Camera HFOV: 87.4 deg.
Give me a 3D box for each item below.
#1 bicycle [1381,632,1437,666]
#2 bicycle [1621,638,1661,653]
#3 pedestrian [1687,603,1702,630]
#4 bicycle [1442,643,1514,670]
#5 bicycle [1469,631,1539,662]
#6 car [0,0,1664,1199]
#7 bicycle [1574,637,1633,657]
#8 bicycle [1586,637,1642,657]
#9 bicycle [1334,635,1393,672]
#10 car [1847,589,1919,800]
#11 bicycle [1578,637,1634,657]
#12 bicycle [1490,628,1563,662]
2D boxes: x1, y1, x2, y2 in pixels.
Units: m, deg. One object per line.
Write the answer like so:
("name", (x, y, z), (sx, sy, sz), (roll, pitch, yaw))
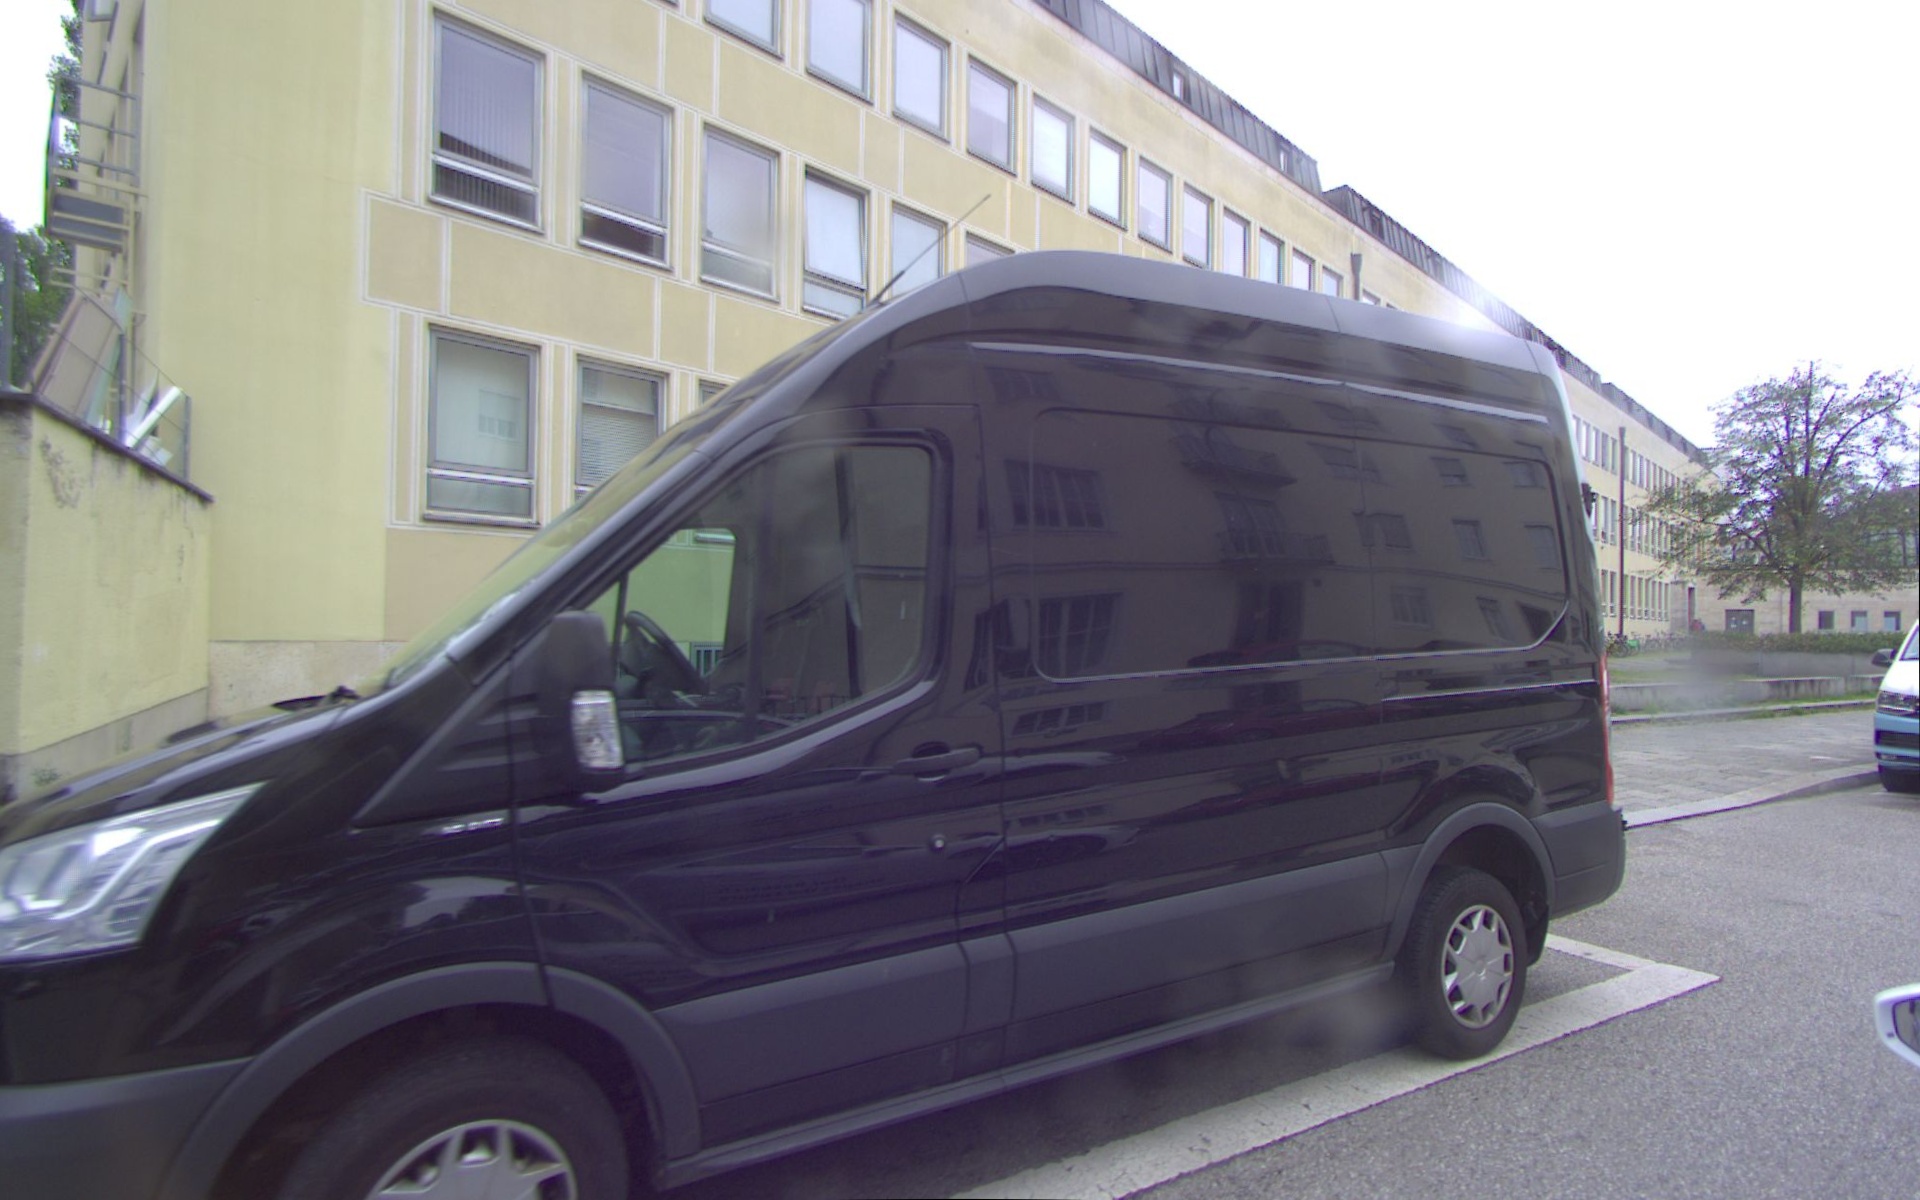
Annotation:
("bicycle", (13.725, 1.485, 30.732), (1.511, 0.968, 0.364), (1, 1, 44))
("bicycle", (36.439, 2.442, 53.749), (1.717, 0.724, 0.611), (0, -1, 42))
("pedestrian", (47.678, 1.059, 65.205), (0.590, 1.759, 0.663), (3, 2, 28))
("bicycle", (18.038, 1.958, 35.042), (2.180, 0.846, 0.492), (0, -1, 42))
("bicycle", (19.689, 1.687, 36.408), (2.180, 1.051, 0.492), (0, -1, 42))
("car", (0.036, 0.295, 3.663), (5.311, 2.671, 2.079), (0, 0, -29))
("bicycle", (28.996, 2.113, 45.291), (2.180, 0.846, 0.492), (0, -1, 42))
("bicycle", (31.188, 2.232, 47.924), (2.180, 0.907, 0.644), (0, -1, 42))
("bicycle", (11.393, 1.506, 28.411), (1.511, 0.968, 0.364), (1, 1, 44))
("car", (11.038, 0.874, 10.225), (4.552, 1.957, 1.872), (0, -2, -34))
("bicycle", (29.491, 2.121, 45.890), (2.094, 0.846, 0.644), (0, -1, 42))
("bicycle", (21.689, 1.697, 38.491), (2.223, 1.184, 1.041), (1, 1, 44))
